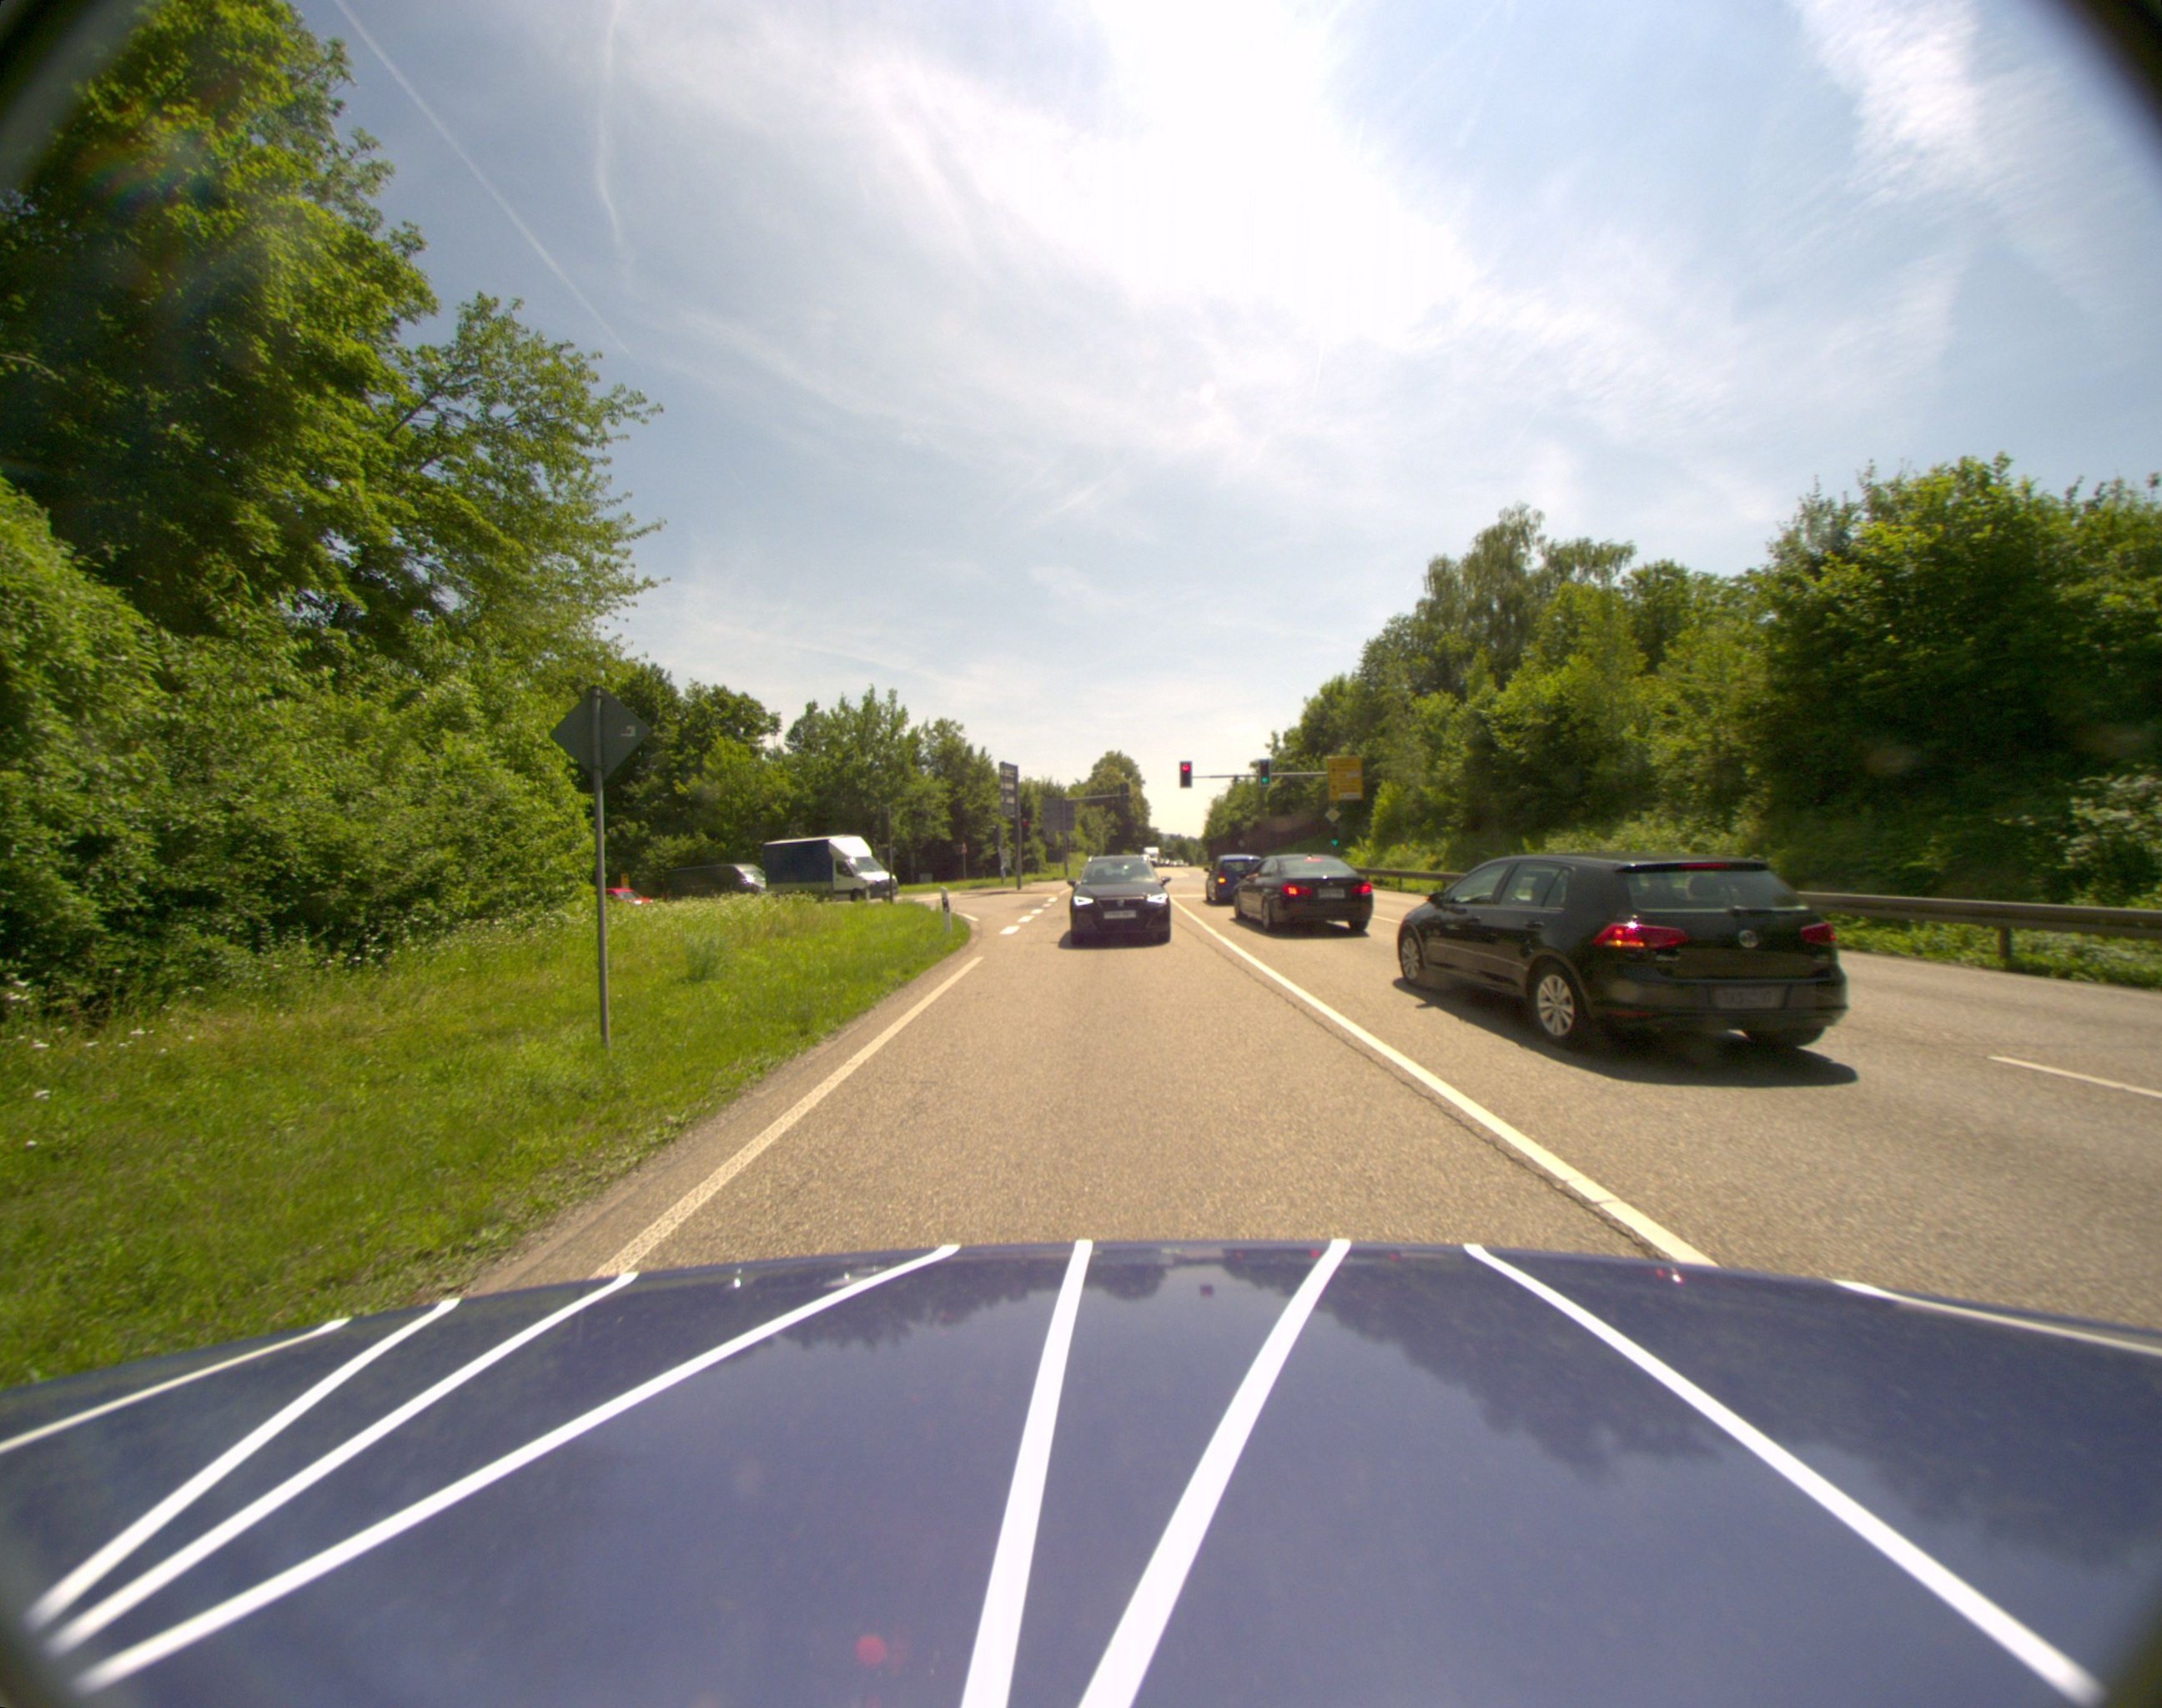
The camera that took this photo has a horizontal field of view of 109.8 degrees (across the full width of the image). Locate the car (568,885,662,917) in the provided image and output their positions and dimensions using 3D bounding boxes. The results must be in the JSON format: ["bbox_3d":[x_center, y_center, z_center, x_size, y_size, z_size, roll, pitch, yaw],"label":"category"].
[{"bbox_3d":[-28.296,2.873,46.124,5.112,1.598,1.852,-3,1,17],"label":"car"}]

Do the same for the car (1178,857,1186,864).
[{"bbox_3d":[26.802,1.779,201.354,1.997,1.756,4.002,-2,0,7],"label":"car"}]

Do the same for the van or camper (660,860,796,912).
[{"bbox_3d":[-20.129,1.823,43.372,7.221,2.462,2.413,-4,-1,18],"label":"van or camper"}]

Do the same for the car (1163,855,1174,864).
[{"bbox_3d":[17.532,1.099,152.414,1.997,1.756,4.002,-2,0,7],"label":"car"}]

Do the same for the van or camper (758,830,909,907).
[{"bbox_3d":[-11.652,0.700,35.552,7.236,3.193,2.108,-3,1,28],"label":"van or camper"}]

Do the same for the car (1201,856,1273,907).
[{"bbox_3d":[4.740,0.796,23.532,1.570,1.431,3.771,-1,0,2],"label":"car"}]

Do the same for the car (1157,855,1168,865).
[{"bbox_3d":[14.865,1.053,138.605,1.997,1.756,4.002,-2,0,7],"label":"car"}]

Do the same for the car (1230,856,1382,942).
[{"bbox_3d":[4.317,0.790,15.392,1.786,1.438,4.641,-1,0,1],"label":"car"}]

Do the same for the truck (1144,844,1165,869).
[{"bbox_3d":[12.035,0.363,124.299,2.838,3.795,8.454,-2,1,8],"label":"truck"}]

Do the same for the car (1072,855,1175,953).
[{"bbox_3d":[0.780,0.820,14.395,1.626,1.535,4.000,-2,0,2],"label":"car"}]

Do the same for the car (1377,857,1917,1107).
[{"bbox_3d":[4.275,0.795,6.731,1.686,1.406,4.181,-1,1,1],"label":"car"}]

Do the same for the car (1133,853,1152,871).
[{"bbox_3d":[7.445,0.905,92.257,1.997,2.002,4.002,-3,0,7],"label":"car"}]
